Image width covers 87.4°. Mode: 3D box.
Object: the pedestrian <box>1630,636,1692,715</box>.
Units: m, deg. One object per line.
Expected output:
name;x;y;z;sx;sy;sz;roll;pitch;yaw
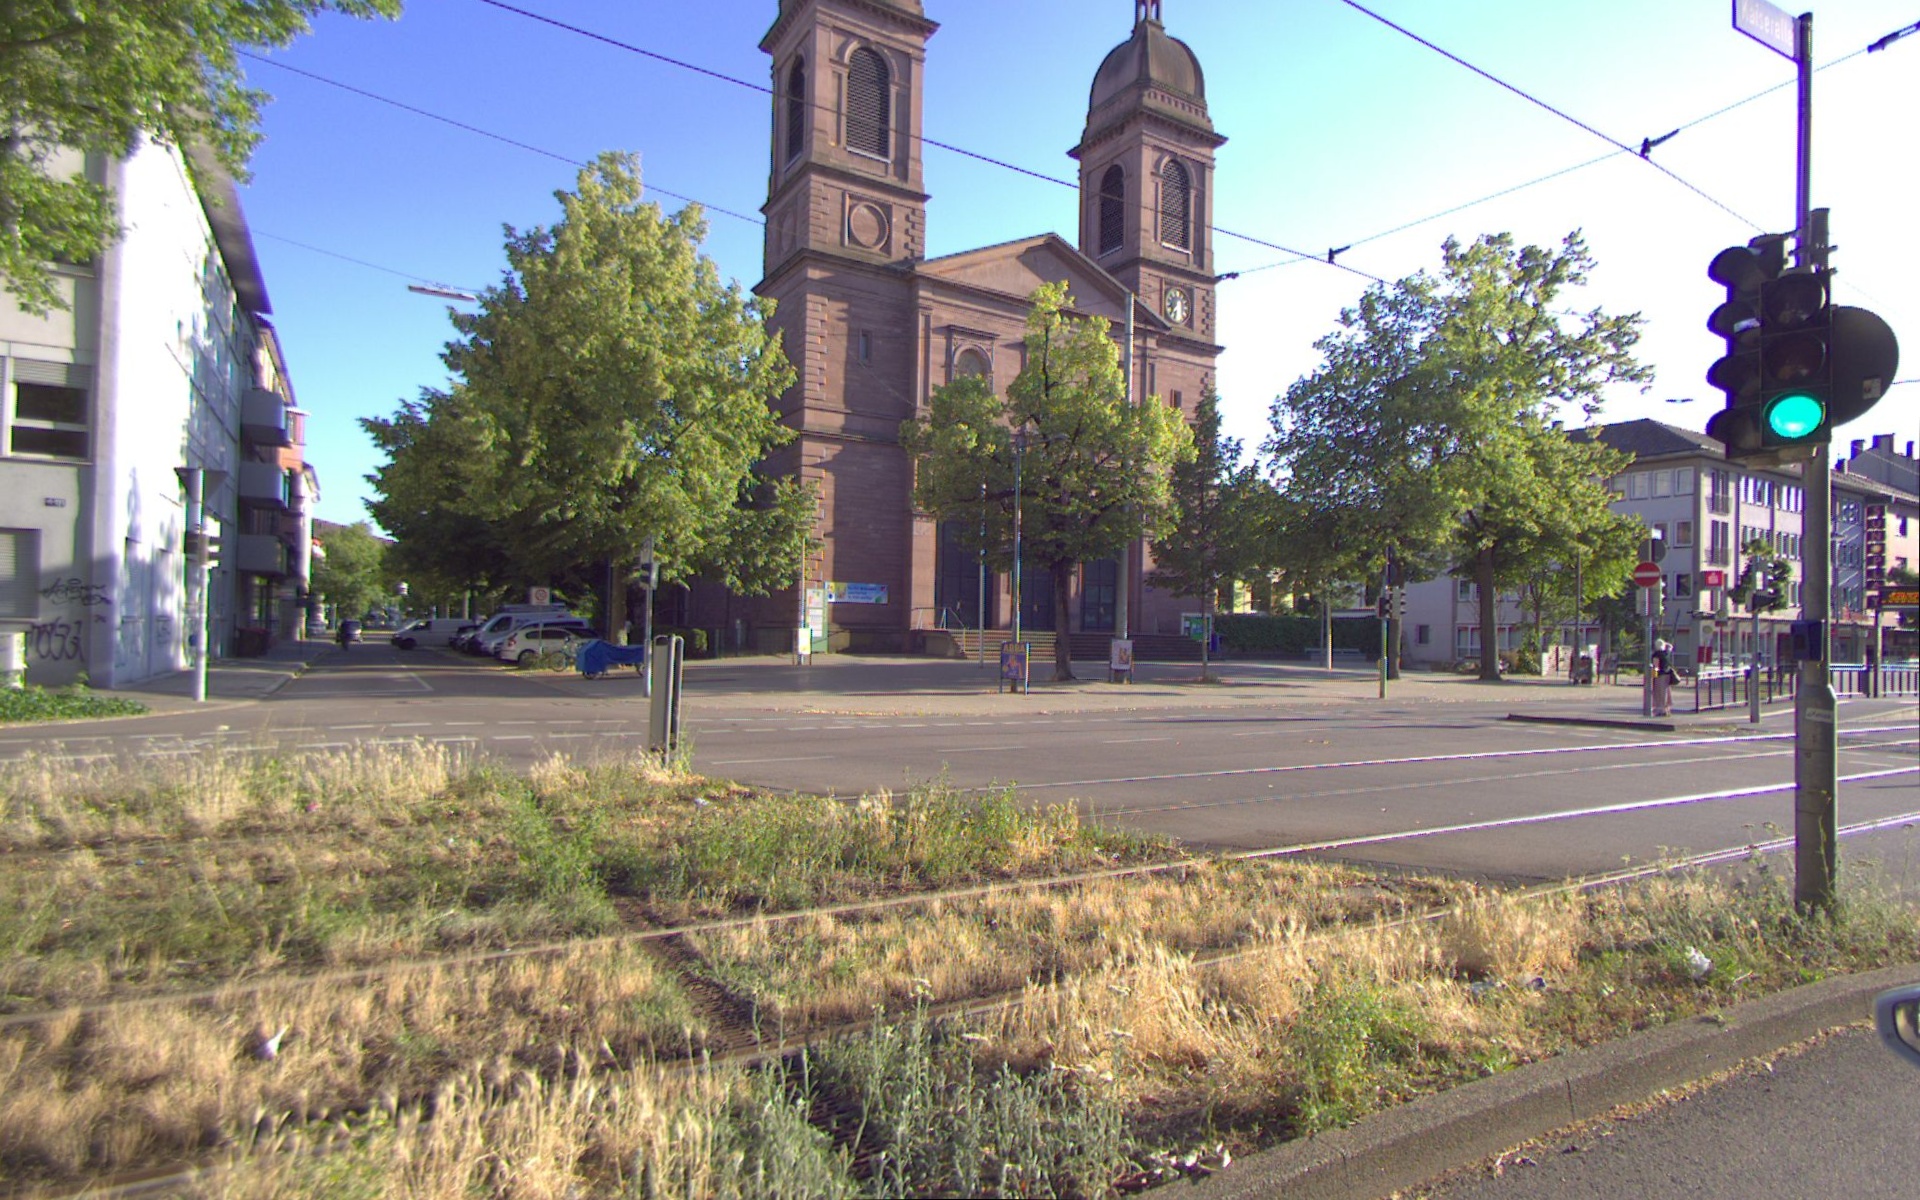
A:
pedestrian;16.246;1.737;23.289;0.822;1.783;0.915;3;-2;-29

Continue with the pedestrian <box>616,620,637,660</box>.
pedestrian;-15.198;1.804;45.773;0.684;1.789;0.733;2;-1;-31

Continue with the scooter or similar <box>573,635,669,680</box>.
scooter or similar;-9.672;1.620;28.662;2.420;1.141;1.088;0;0;-31

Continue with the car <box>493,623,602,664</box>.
car;-17.192;1.817;41.862;3.954;1.639;1.875;2;-2;-31

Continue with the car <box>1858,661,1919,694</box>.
car;52.853;4.361;56.230;3.440;1.702;1.772;1;-1;6

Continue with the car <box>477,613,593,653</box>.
car;-19.514;1.518;46.120;4.656;1.684;1.984;2;-2;-31

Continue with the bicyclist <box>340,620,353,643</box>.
bicyclist;-37.493;1.924;61.400;0.625;1.348;0.962;2;-2;-30

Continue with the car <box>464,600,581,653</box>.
car;-22.125;1.367;50.881;5.065;2.551;1.980;3;-2;-36

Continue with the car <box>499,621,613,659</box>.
car;-15.937;1.576;39.628;3.954;1.416;1.802;2;-1;-31

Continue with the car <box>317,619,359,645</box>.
car;-51.330;2.644;82.846;1.985;2.040;5.359;3;-2;-42

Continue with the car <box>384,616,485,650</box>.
car;-33.583;2.122;64.281;5.378;2.040;1.978;3;-2;-39

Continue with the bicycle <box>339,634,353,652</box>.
bicycle;-37.455;2.616;61.305;0.625;0.993;1.973;2;-2;-30
